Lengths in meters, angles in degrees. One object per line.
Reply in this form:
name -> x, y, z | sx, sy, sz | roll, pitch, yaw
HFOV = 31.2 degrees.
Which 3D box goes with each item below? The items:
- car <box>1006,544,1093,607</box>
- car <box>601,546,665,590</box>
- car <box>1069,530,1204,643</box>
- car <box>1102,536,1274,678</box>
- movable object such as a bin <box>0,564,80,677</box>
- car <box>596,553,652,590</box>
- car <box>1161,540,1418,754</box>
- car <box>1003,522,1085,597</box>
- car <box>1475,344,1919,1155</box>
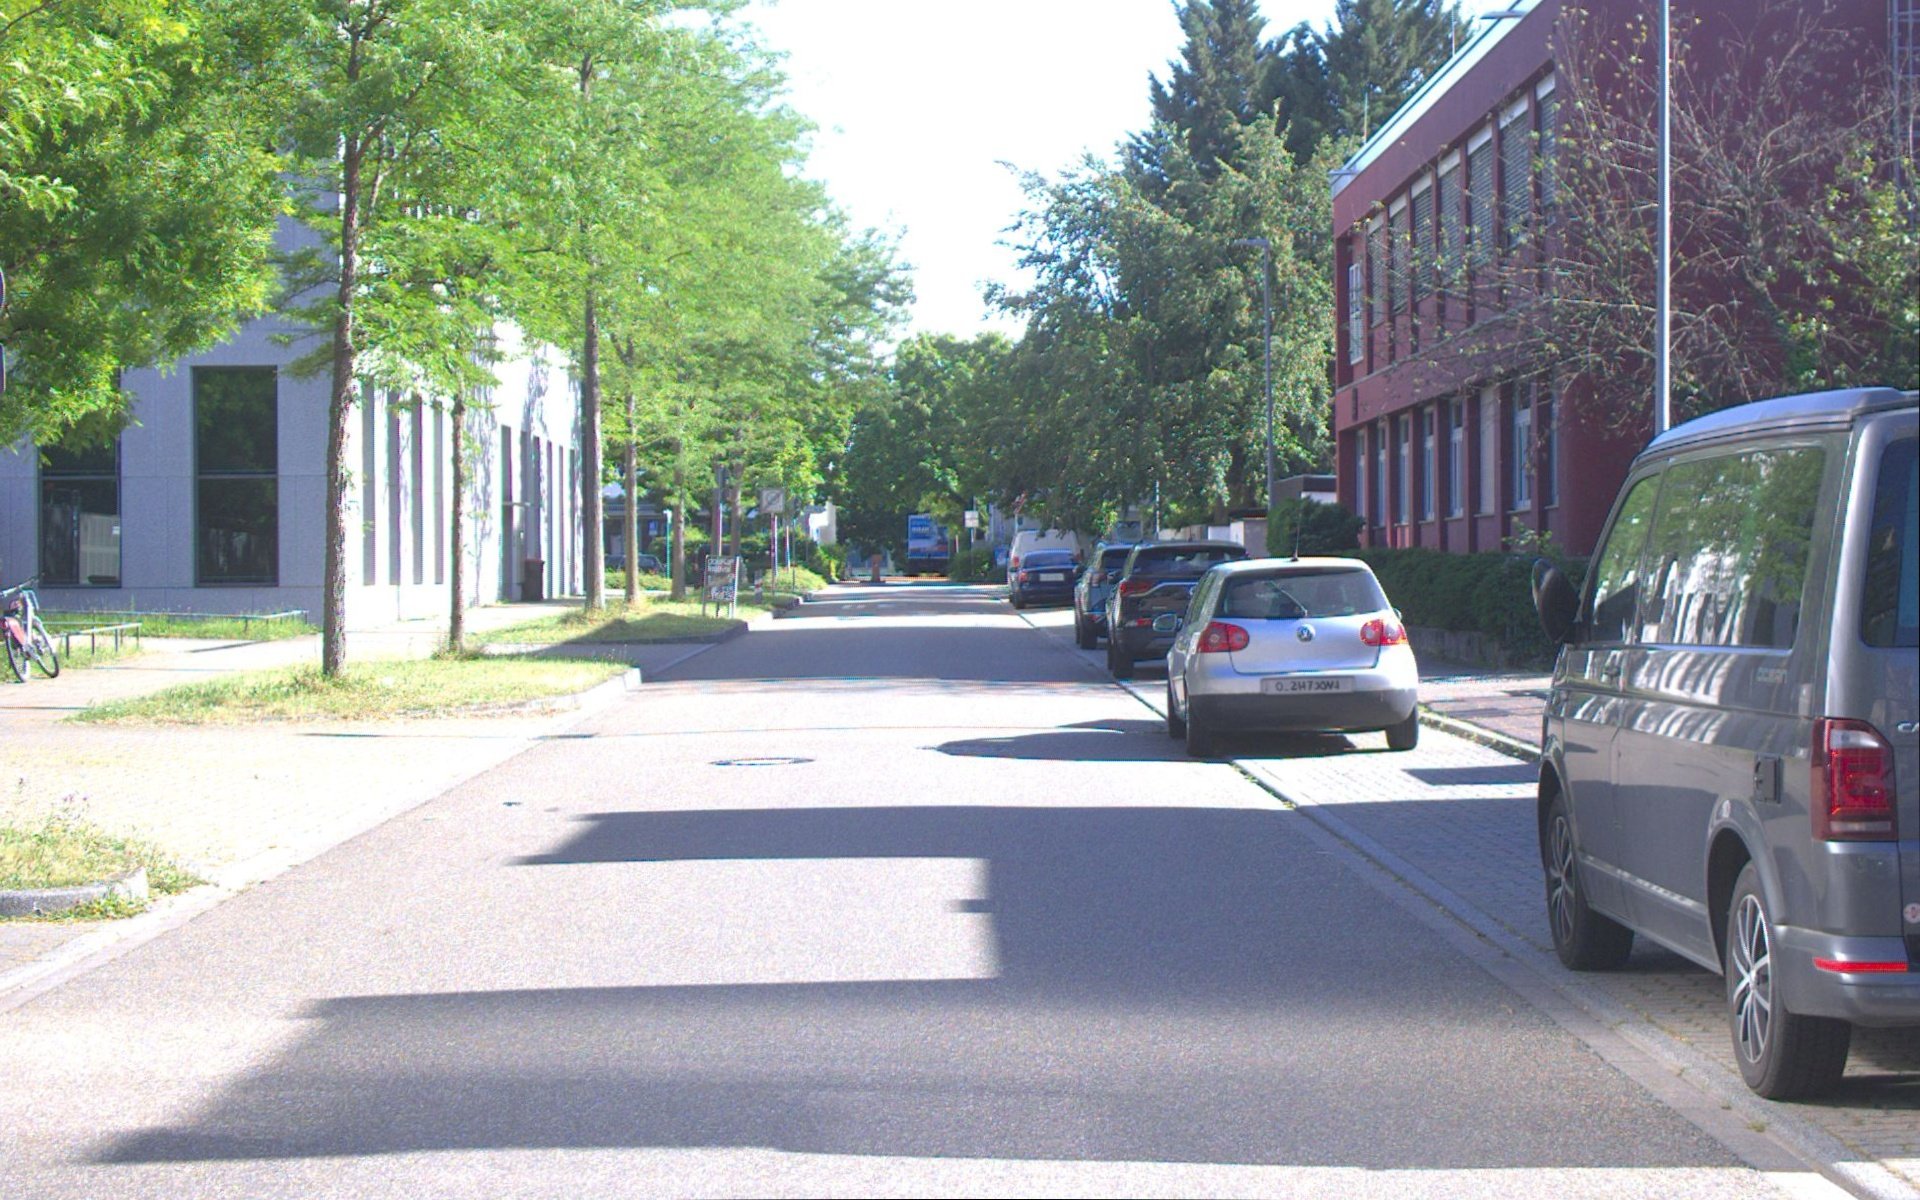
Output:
car -> 2.209, -0.628, 85.381 | 1.993, 1.437, 4.000 | -3, 1, 0
car -> -10.983, -1.075, 115.562 | 1.993, 1.453, 3.793 | 0, 1, -3
car -> 2.658, -0.242, 52.649 | 1.855, 1.642, 4.000 | -1, 1, 0
car -> 2.699, 0.042, 41.538 | 1.838, 1.628, 4.201 | 0, 1, 1
movable object such as a bin -> -10.045, 0.202, 36.977 | 0.663, 1.177, 1.935 | 0, 1, 0
car -> -12.411, -1.067, 127.276 | 1.905, 1.337, 3.793 | 0, 1, -3
car -> 2.510, 0.306, 27.000 | 1.660, 1.556, 3.935 | 0, 1, 0
car -> 2.194, -1.089, 91.122 | 1.993, 1.828, 4.000 | -3, 1, 0
car -> 3.029, 0.343, 10.987 | 1.943, 2.015, 4.825 | -1, 0, -1
